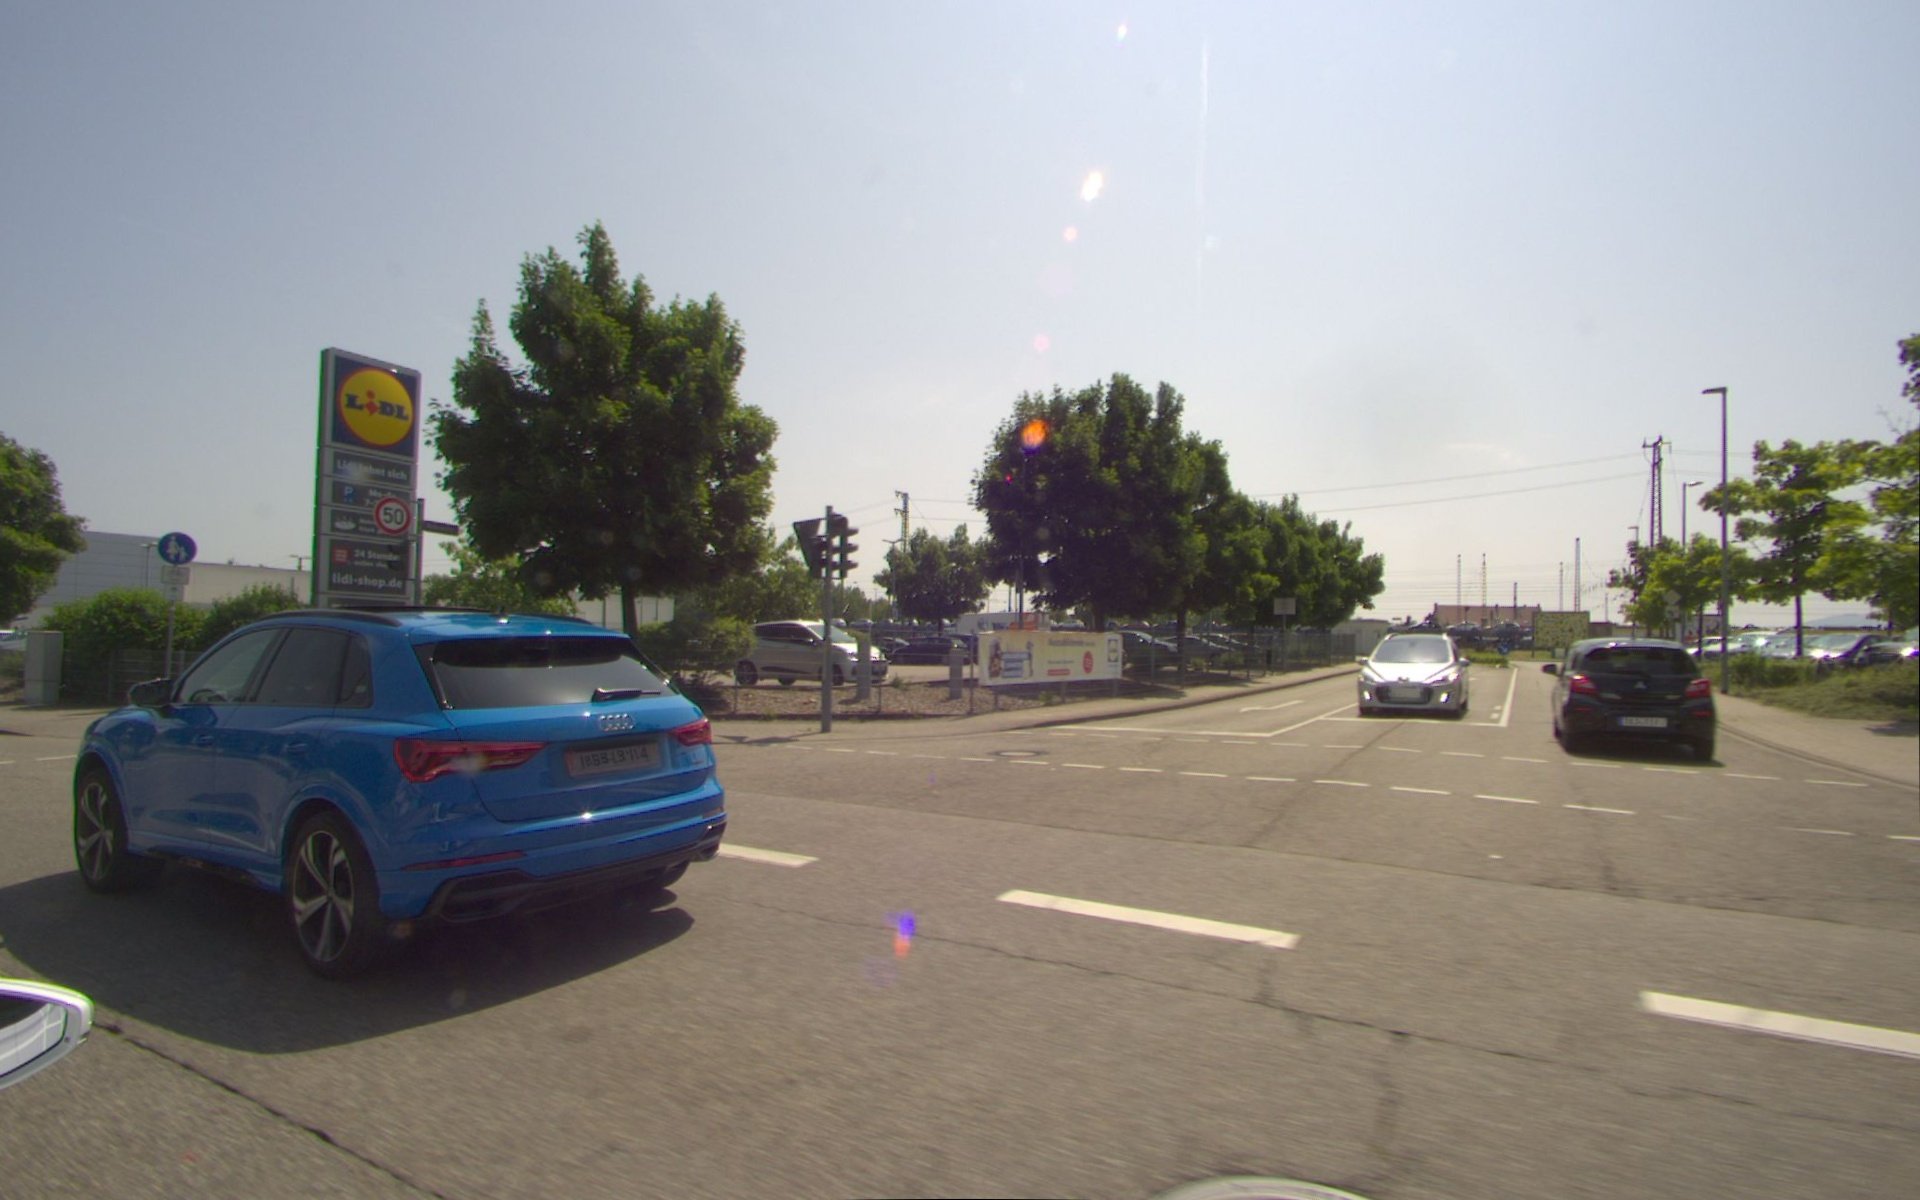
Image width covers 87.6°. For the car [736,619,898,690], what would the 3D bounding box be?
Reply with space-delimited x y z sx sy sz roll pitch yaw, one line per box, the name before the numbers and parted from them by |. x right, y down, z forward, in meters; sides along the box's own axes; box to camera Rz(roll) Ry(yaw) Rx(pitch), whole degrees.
car | -3.241 1.183 22.593 3.478 1.457 1.419 0 0 27

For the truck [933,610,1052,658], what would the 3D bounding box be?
truck | 2.653 2.828 83.700 9.884 3.887 2.847 -1 -1 31

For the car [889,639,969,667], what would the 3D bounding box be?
car | -1.548 2.589 49.729 3.746 1.304 1.628 -1 -2 32

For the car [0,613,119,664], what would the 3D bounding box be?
car | -29.319 1.236 31.781 1.694 1.556 3.593 0 -3 24

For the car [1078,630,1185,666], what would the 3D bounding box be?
car | 7.411 2.032 43.331 4.264 1.468 1.701 -1 -2 33

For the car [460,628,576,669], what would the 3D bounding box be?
car | -16.050 1.750 36.350 4.017 1.411 1.734 -1 -2 28

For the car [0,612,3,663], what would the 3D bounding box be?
car | -38.293 1.319 36.478 1.798 1.948 4.617 0 -3 28

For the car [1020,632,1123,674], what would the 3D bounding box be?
car | 4.082 1.898 36.628 3.370 1.467 1.702 0 -2 24

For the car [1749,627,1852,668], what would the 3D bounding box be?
car | 31.749 1.773 37.919 2.940 1.485 1.420 -1 -2 38

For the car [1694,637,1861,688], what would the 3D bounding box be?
car | 23.733 1.783 29.253 3.552 1.371 1.744 -1 -2 32

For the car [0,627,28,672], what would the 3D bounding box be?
car | -35.814 1.692 35.000 1.799 1.612 4.365 0 -3 29

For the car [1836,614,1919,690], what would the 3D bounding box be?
car | 22.836 1.203 23.075 4.269 1.661 1.997 1 -2 -16

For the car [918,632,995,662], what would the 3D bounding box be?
car | -0.169 2.443 52.204 3.746 1.496 1.628 -1 -2 32

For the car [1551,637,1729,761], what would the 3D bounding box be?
car | 8.979 1.230 13.474 1.596 1.419 3.419 0 -2 28

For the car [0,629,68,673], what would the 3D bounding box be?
car | -31.956 1.639 32.622 1.671 1.439 3.997 0 -3 27

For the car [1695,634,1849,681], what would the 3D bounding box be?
car | 25.455 1.779 31.562 3.552 1.371 1.744 -1 -2 32

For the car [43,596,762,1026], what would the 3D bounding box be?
car | -3.319 0.836 5.696 4.288 1.613 1.805 -1 -1 33

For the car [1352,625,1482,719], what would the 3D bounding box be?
car | 9.072 1.331 19.694 1.782 1.638 4.240 -1 -2 32

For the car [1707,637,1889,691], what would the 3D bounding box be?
car | 22.617 1.689 27.213 3.552 1.371 1.744 -1 -2 32

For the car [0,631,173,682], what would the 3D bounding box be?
car | -26.659 1.694 30.266 1.672 1.439 4.168 0 -3 30
